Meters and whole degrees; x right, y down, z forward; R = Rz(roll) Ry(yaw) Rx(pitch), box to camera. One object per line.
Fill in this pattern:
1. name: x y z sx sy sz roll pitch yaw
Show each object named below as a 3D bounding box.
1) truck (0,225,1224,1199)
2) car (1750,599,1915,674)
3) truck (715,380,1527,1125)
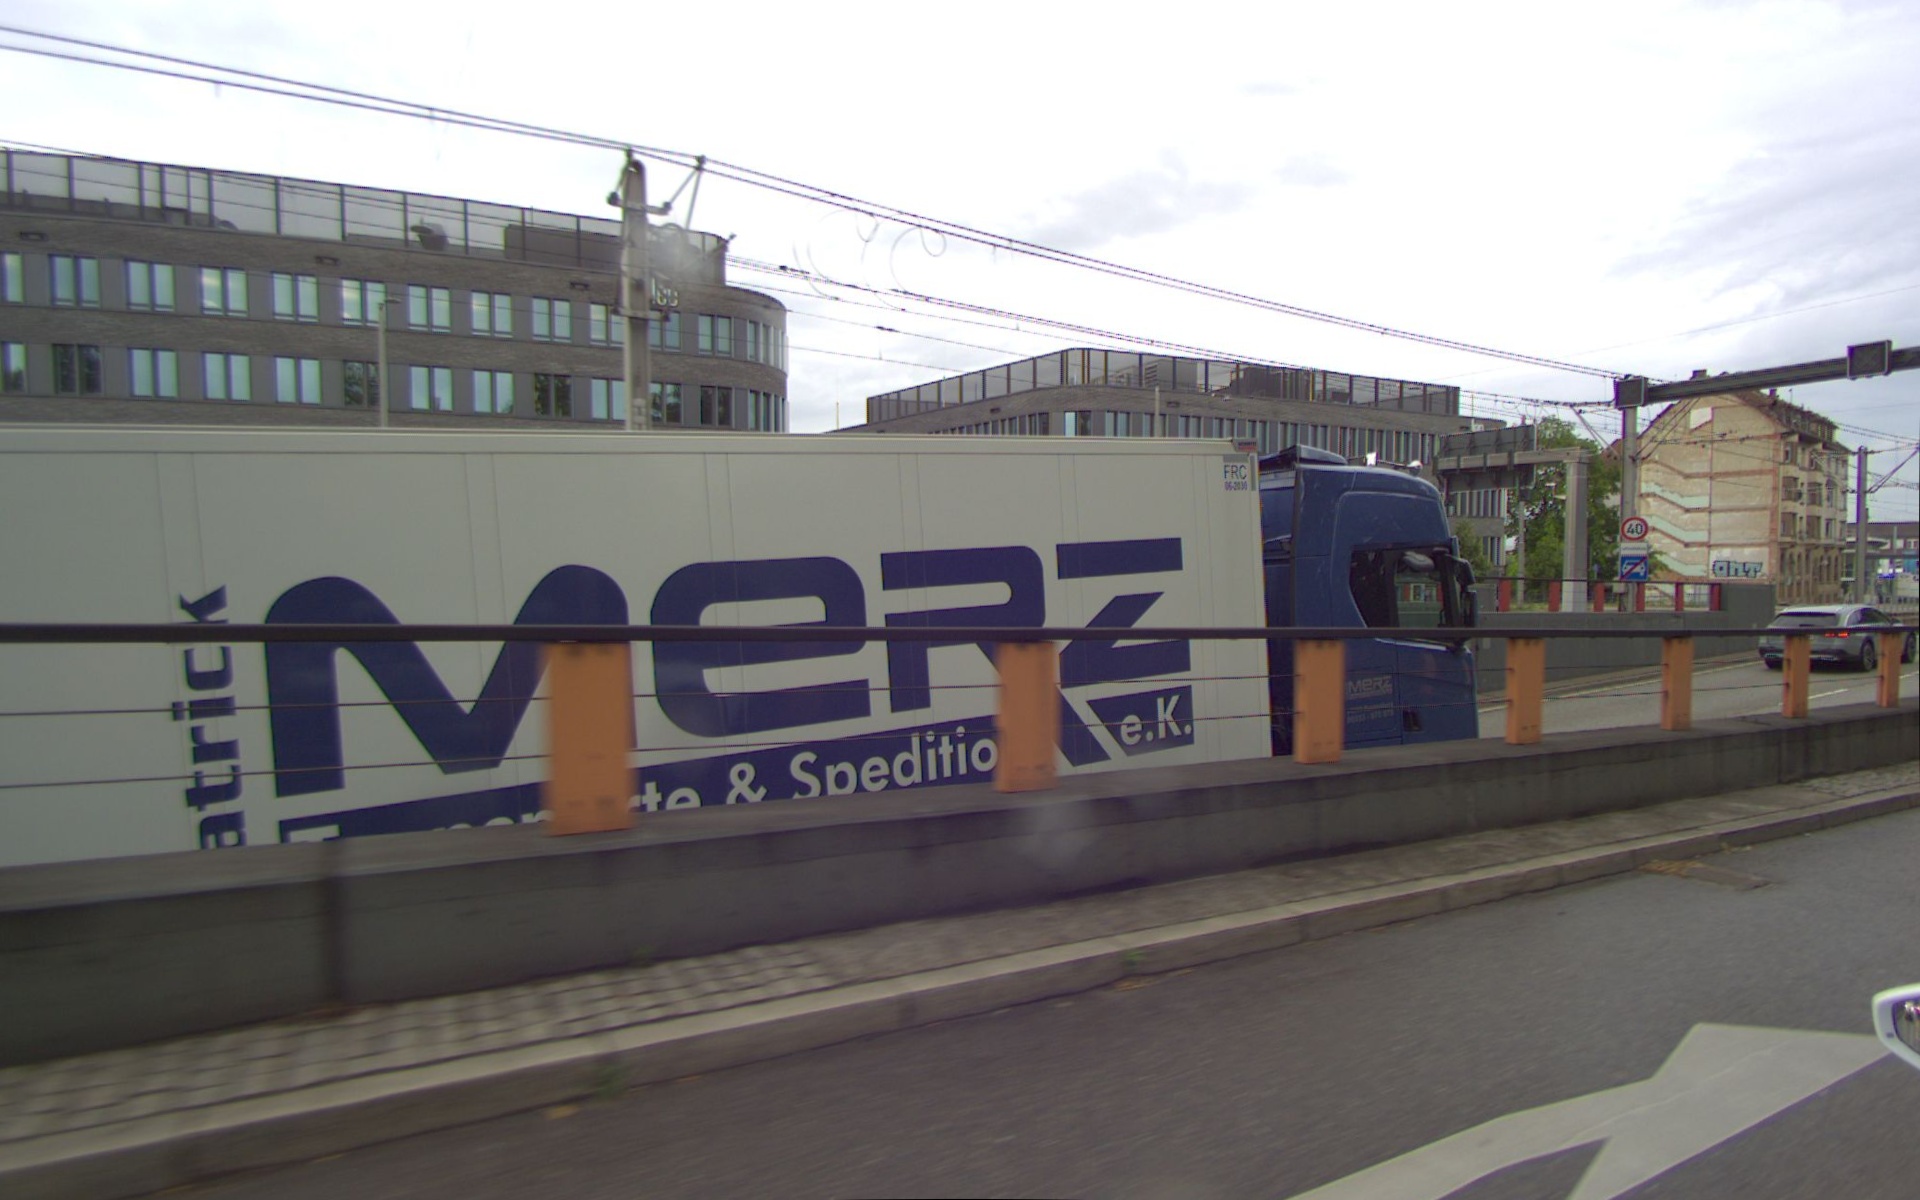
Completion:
1. truck: -4.379 0.678 5.113 12.873 4.253 2.750 0 0 -30
2. car: 20.970 0.829 24.112 4.044 1.586 1.812 -1 0 -31
3. truck: 1.591 0.869 8.634 6.704 4.253 2.749 0 0 -30
